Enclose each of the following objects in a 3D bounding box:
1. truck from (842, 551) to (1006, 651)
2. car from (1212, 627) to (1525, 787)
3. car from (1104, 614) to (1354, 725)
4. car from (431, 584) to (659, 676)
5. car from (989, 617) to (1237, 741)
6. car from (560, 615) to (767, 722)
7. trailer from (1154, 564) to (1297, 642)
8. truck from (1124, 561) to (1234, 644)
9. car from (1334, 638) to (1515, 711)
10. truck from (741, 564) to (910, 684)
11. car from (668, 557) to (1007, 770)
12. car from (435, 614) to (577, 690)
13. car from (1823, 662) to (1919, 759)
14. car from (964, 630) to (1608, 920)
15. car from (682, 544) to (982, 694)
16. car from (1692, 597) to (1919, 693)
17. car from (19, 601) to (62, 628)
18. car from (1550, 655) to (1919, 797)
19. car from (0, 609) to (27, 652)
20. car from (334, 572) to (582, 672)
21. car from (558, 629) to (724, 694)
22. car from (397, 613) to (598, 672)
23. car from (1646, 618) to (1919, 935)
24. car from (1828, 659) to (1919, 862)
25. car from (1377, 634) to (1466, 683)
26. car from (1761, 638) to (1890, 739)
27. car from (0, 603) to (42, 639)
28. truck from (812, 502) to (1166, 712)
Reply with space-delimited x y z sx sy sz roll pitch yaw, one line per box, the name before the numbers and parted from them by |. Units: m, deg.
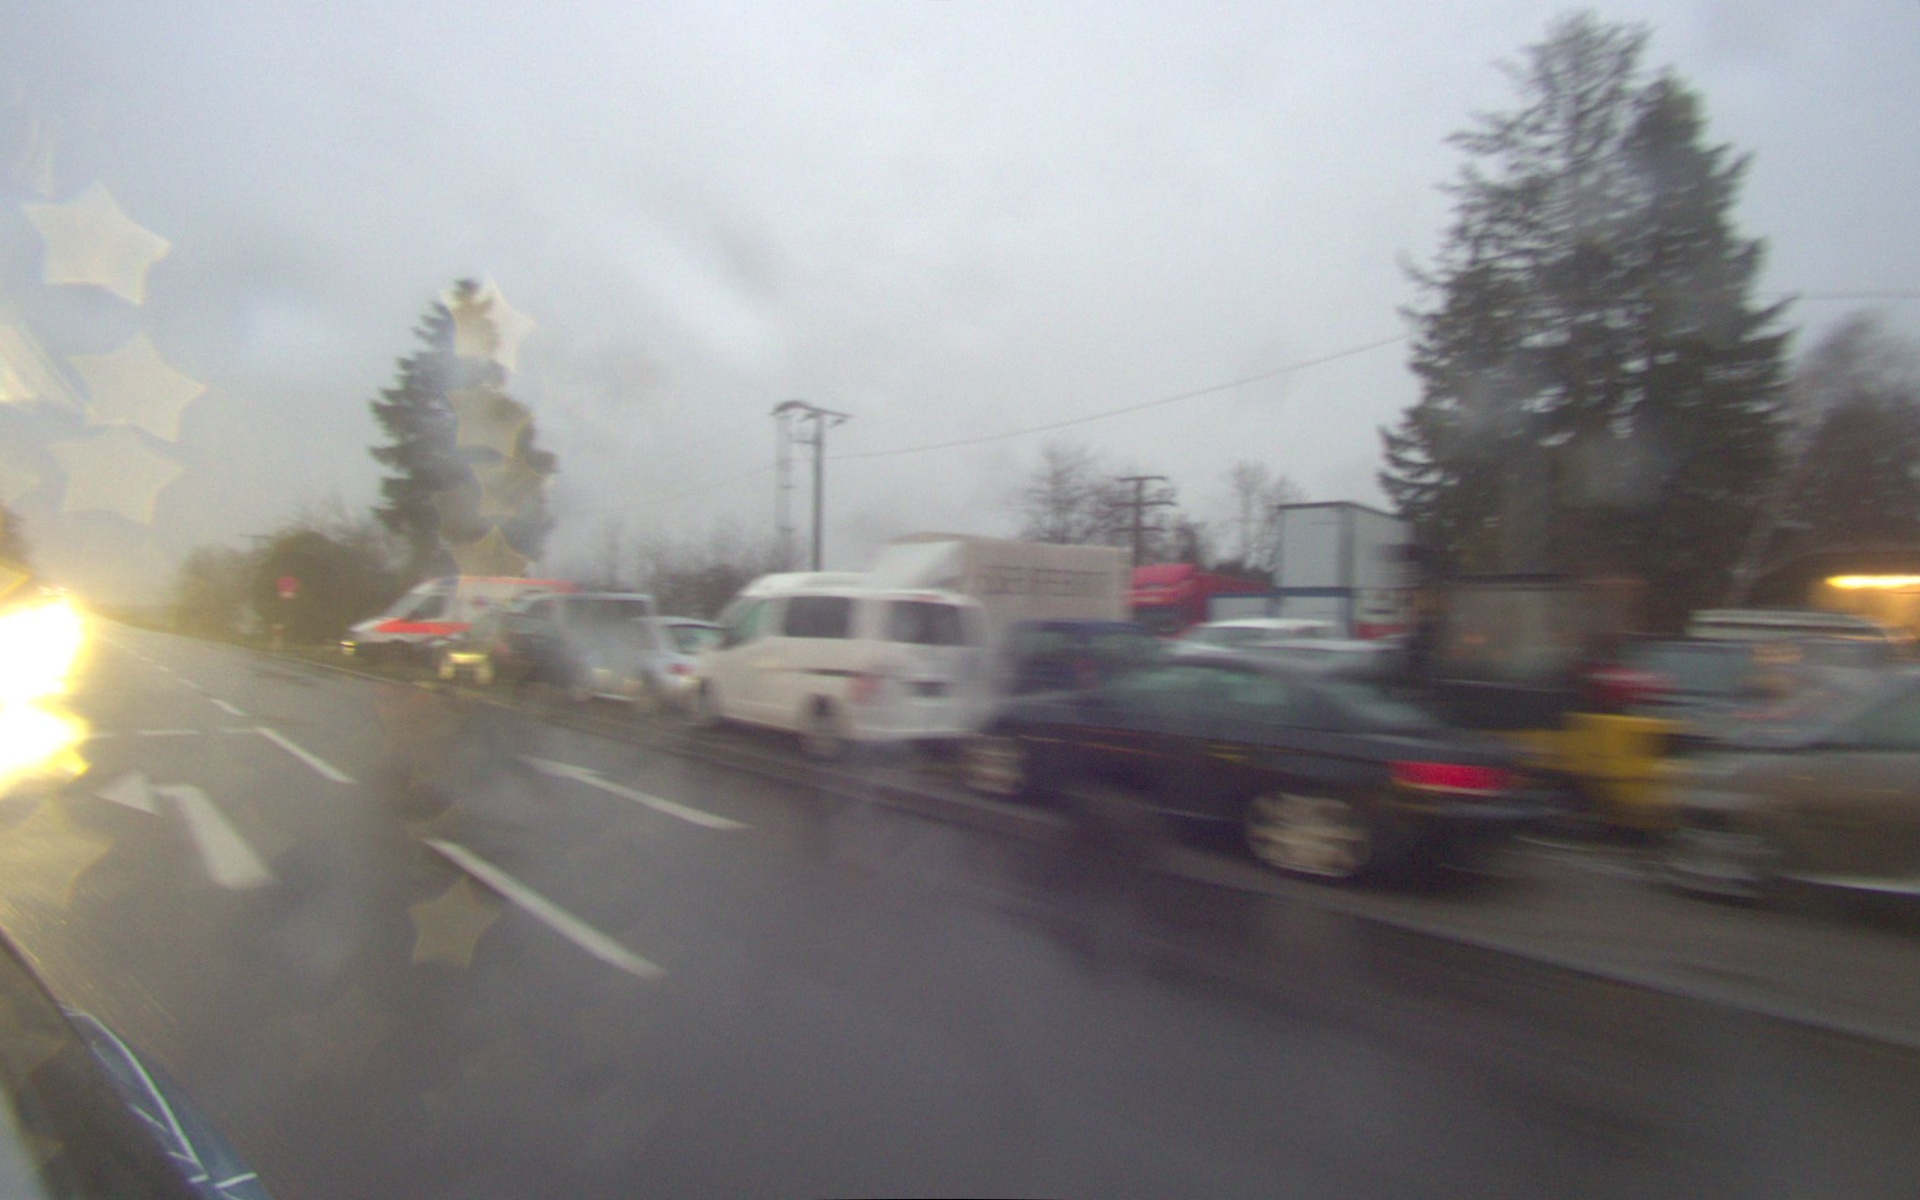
truck | -1.487 0.010 47.796 3.002 4.293 8.605 0 0 37
car | 4.787 1.176 11.615 3.862 1.488 1.812 5 -4 -42
car | 4.053 0.919 14.862 1.815 1.388 4.003 0 -1 45
car | -10.771 0.852 26.534 5.083 2.167 2.061 4 -3 -42
car | 2.570 1.159 16.443 2.026 1.746 4.003 -1 -1 45
car | -4.644 0.964 15.530 1.629 1.423 3.847 2 -2 -40
trailer | 10.718 0.129 39.919 2.214 2.694 10.386 0 -1 34
truck | 7.750 0.098 35.476 2.228 2.717 4.670 0 -1 34
car | 9.527 1.492 20.855 3.165 1.342 1.392 -1 -4 40
truck | -4.372 0.775 32.080 5.854 3.481 2.008 -1 -4 44
car | -1.630 0.632 11.942 1.812 2.028 4.491 2 -1 -40
car | -9.442 1.057 20.925 1.630 1.431 3.747 3 -4 -41
car | 15.626 1.741 15.651 3.435 1.416 1.517 -1 -2 41
car | 2.083 1.009 7.452 1.551 1.331 4.261 4 -1 -43
car | -2.434 0.443 20.795 5.960 2.658 2.198 2 -2 -44
car | 22.129 1.093 25.914 5.290 2.279 1.971 0 -2 44
car | -56.497 0.877 62.144 1.863 1.640 4.004 1 -1 -44
car | 9.845 1.488 12.919 1.645 1.409 3.655 3 -3 -35
car | -35.469 1.081 36.826 4.001 1.504 1.988 0 -2 44
car | -14.567 0.748 29.689 6.081 2.652 2.179 4 -3 -42
car | -7.142 1.330 22.824 1.481 1.338 3.266 0 -1 44
car | -12.833 1.226 28.257 4.691 1.494 1.957 4 -3 -42
car | 5.605 0.941 5.508 1.156 1.657 2.878 2 -2 -33
car | 8.911 1.285 8.685 4.699 1.448 1.784 4 -3 -44
car | 12.670 1.564 27.727 1.345 1.227 2.768 -1 -2 45
car | 16.601 1.608 19.363 1.691 1.696 3.639 -1 -2 43
car | -44.324 0.966 47.399 1.862 1.640 4.006 1 -1 -41
truck | 0.796 0.190 18.461 6.777 3.166 2.336 2 -2 -43
